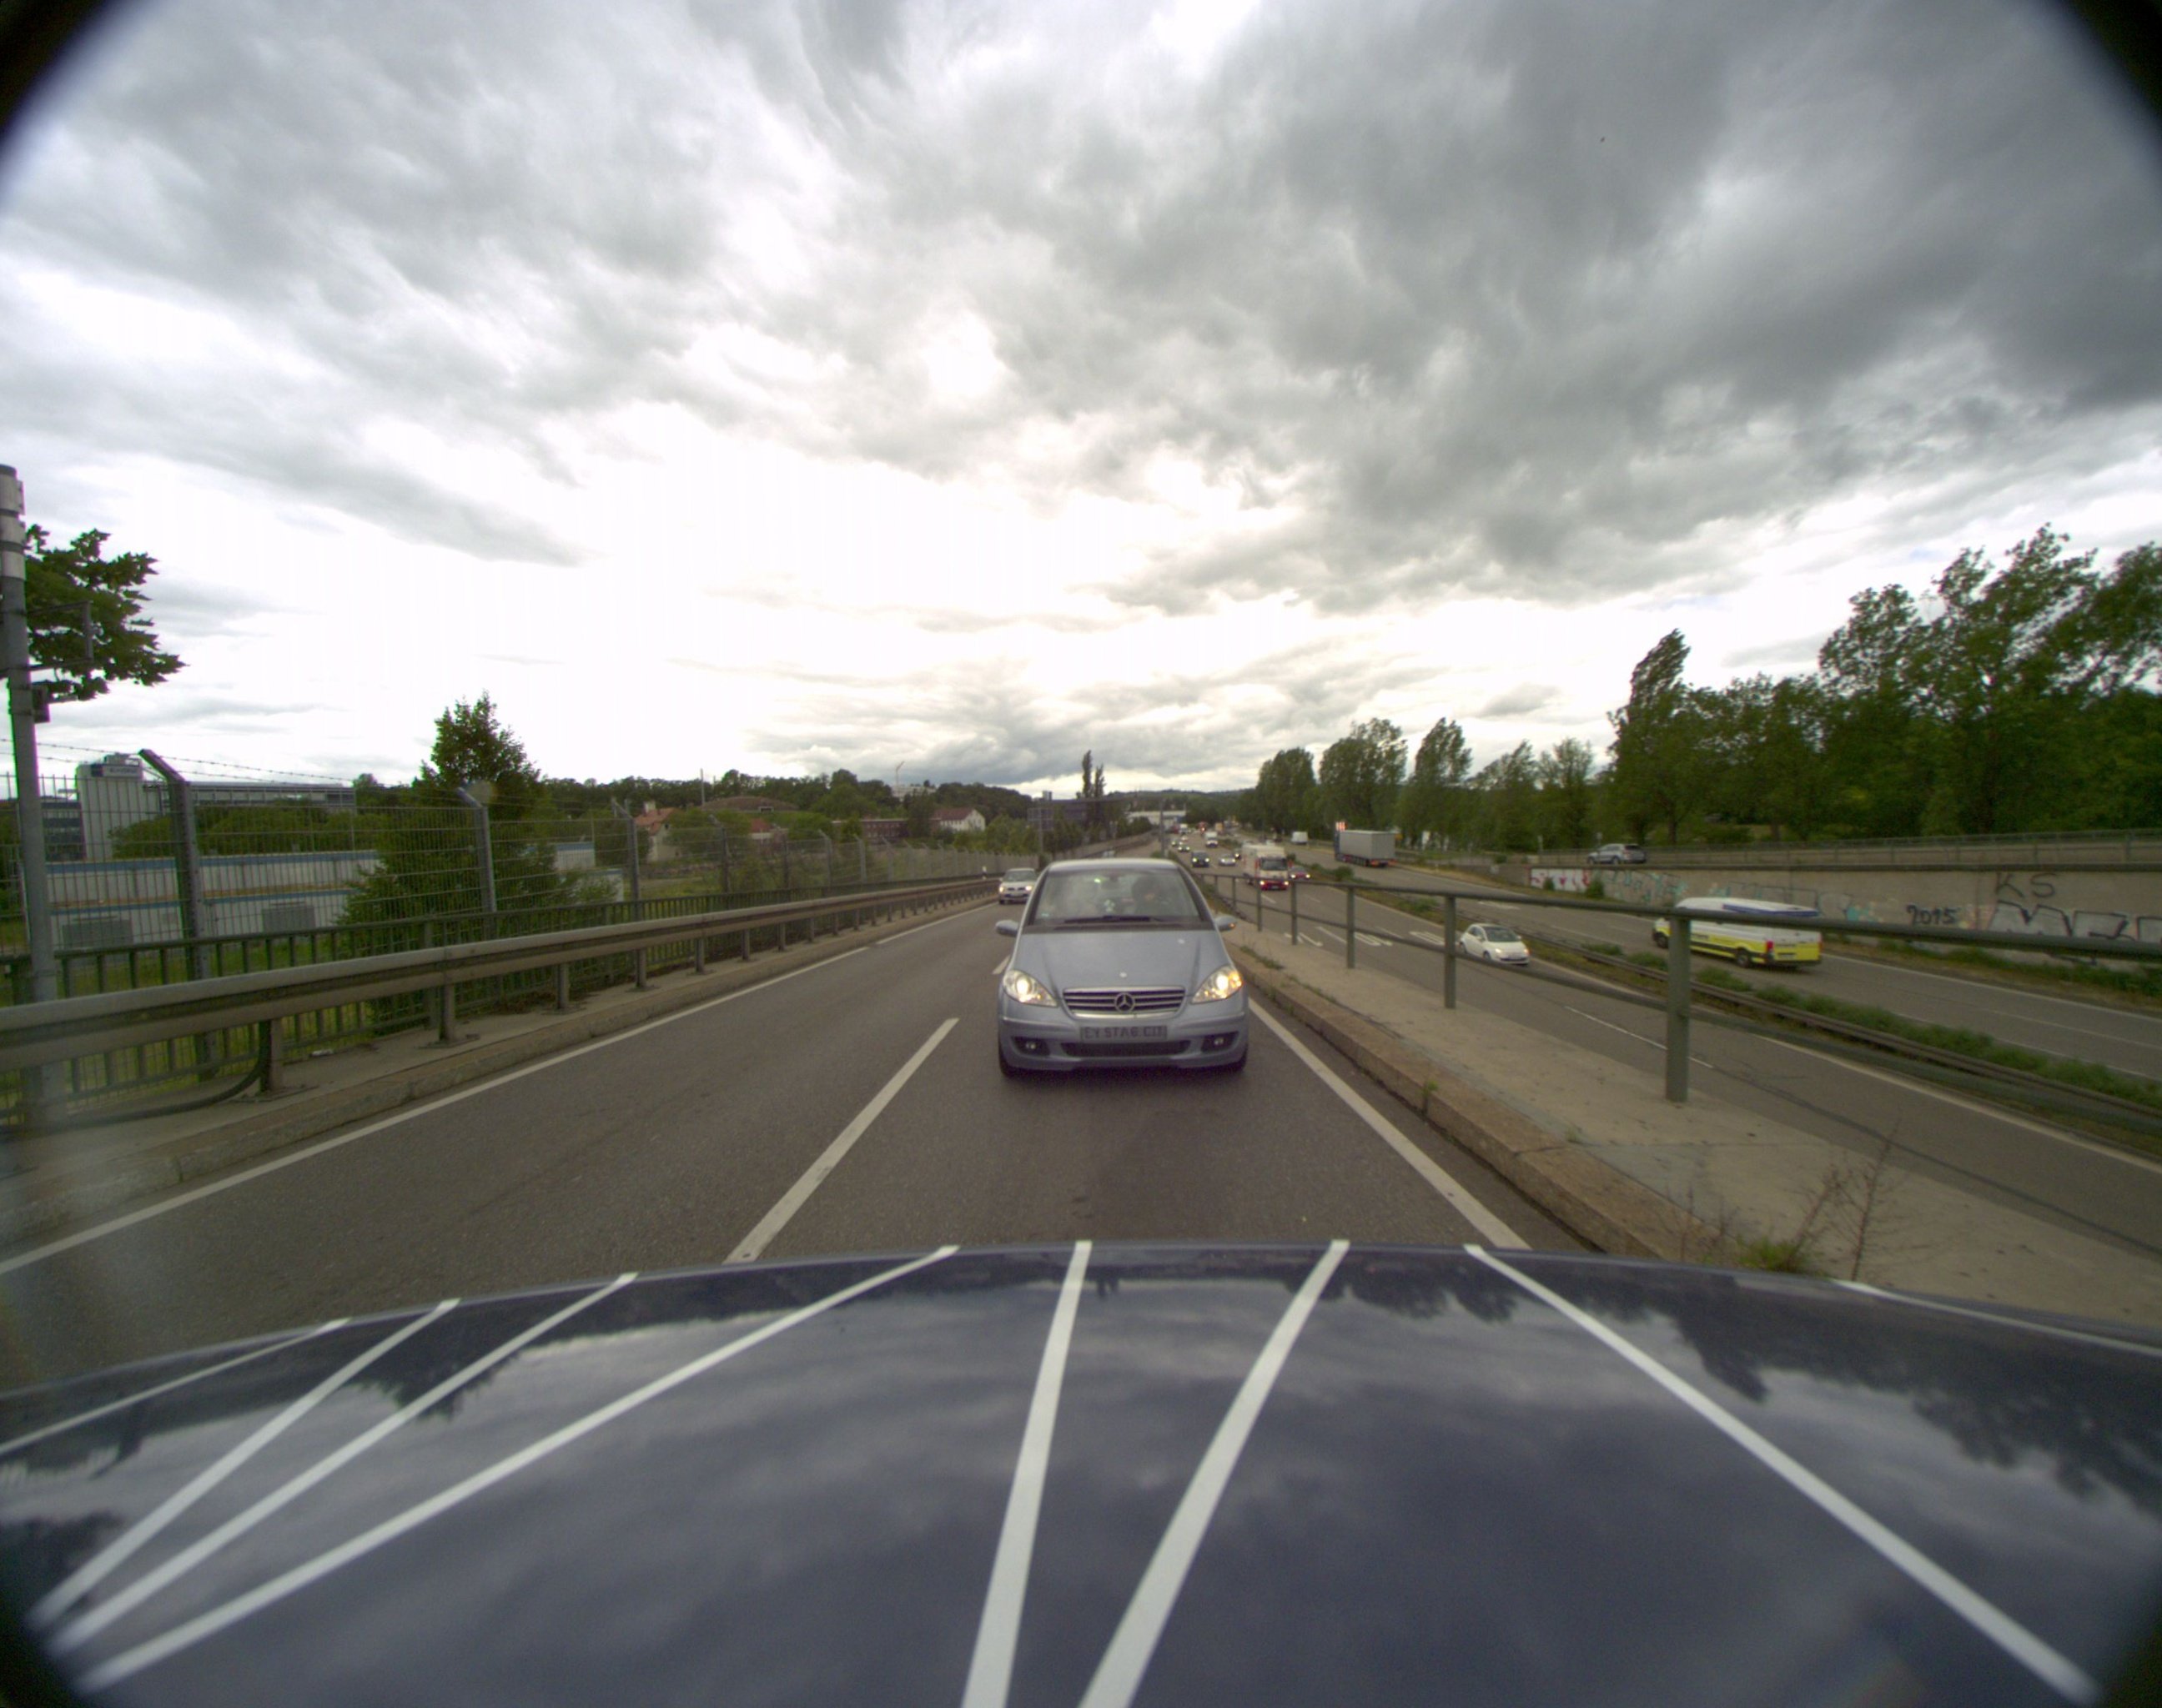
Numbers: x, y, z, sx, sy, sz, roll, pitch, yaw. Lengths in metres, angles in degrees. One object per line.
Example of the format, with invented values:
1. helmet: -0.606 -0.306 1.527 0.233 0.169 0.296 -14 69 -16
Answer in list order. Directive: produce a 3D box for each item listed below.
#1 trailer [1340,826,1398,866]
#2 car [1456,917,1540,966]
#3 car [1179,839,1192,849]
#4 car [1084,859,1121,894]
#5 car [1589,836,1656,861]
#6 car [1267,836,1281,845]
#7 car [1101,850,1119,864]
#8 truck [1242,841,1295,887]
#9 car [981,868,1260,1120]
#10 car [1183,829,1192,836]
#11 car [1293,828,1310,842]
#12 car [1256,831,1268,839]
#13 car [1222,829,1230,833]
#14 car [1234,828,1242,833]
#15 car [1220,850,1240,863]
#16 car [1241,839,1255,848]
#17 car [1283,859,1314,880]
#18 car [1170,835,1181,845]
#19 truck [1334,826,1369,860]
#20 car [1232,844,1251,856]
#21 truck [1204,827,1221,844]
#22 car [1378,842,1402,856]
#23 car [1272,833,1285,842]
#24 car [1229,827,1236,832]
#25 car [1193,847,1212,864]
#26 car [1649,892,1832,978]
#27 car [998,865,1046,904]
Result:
1. trailer: 34.481 -1.092 91.750 2.793 4.117 13.759 -1 3 4
2. car: 17.741 3.693 32.523 1.696 1.524 3.607 -1 3 2
3. car: 17.889 -1.754 130.331 1.828 1.443 4.125 0 3 1
4. car: 1.150 1.202 41.477 1.830 1.701 4.001 -2 -1 1
5. car: 39.558 -0.382 55.649 1.897 1.642 4.378 -3 0 2
6. car: 35.594 -2.489 140.162 1.682 1.412 3.999 0 3 4
7. car: 3.804 0.394 98.676 1.799 1.643 4.153 -2 -1 8
8. truck: 16.416 0.736 67.303 2.888 3.506 9.870 1 3 4
9. car: 0.281 0.920 6.783 1.743 1.534 3.993 -1 0 1
10. car: 27.274 -5.519 194.198 1.769 1.520 3.334 0 3 1
11. car: 46.018 -4.023 158.503 1.998 2.635 5.179 2 3 2
12. car: 47.335 -4.937 198.732 1.886 1.807 4.560 2 3 2
13. car: 49.520 -7.934 259.605 1.998 1.412 3.999 -1 3 4
14. car: 48.443 -7.175 234.653 1.998 1.412 3.999 -1 3 4
15. car: 18.519 0.283 94.444 1.789 1.294 4.151 0 3 2
16. car: 32.011 -2.029 145.855 1.998 1.412 3.999 2 3 4
17. car: 20.267 1.389 71.020 1.834 1.570 4.180 -2 4 2
18. car: 19.140 -2.883 154.026 1.998 2.003 3.999 1 3 3
19. truck: 34.992 -1.495 98.444 2.793 4.117 5.934 -1 3 4
20. car: 22.756 -0.592 107.524 1.863 1.457 4.423 -2 3 2
21. truck: 25.743 -3.664 148.844 2.239 2.993 7.228 -1 3 1
22. car: 46.308 -0.749 113.930 1.998 1.890 4.583 2 3 5
23. car: 46.314 -3.913 178.455 1.886 1.807 4.560 2 3 2
24. car: 50.688 -8.265 254.144 1.998 1.412 3.999 -1 3 4
25. car: 14.752 0.153 92.539 1.997 1.830 4.425 0 3 6
26. car: 27.655 3.249 32.348 1.998 2.614 6.711 1 3 2
27. car: -2.415 1.250 31.896 1.589 1.423 3.443 -2 1 2
